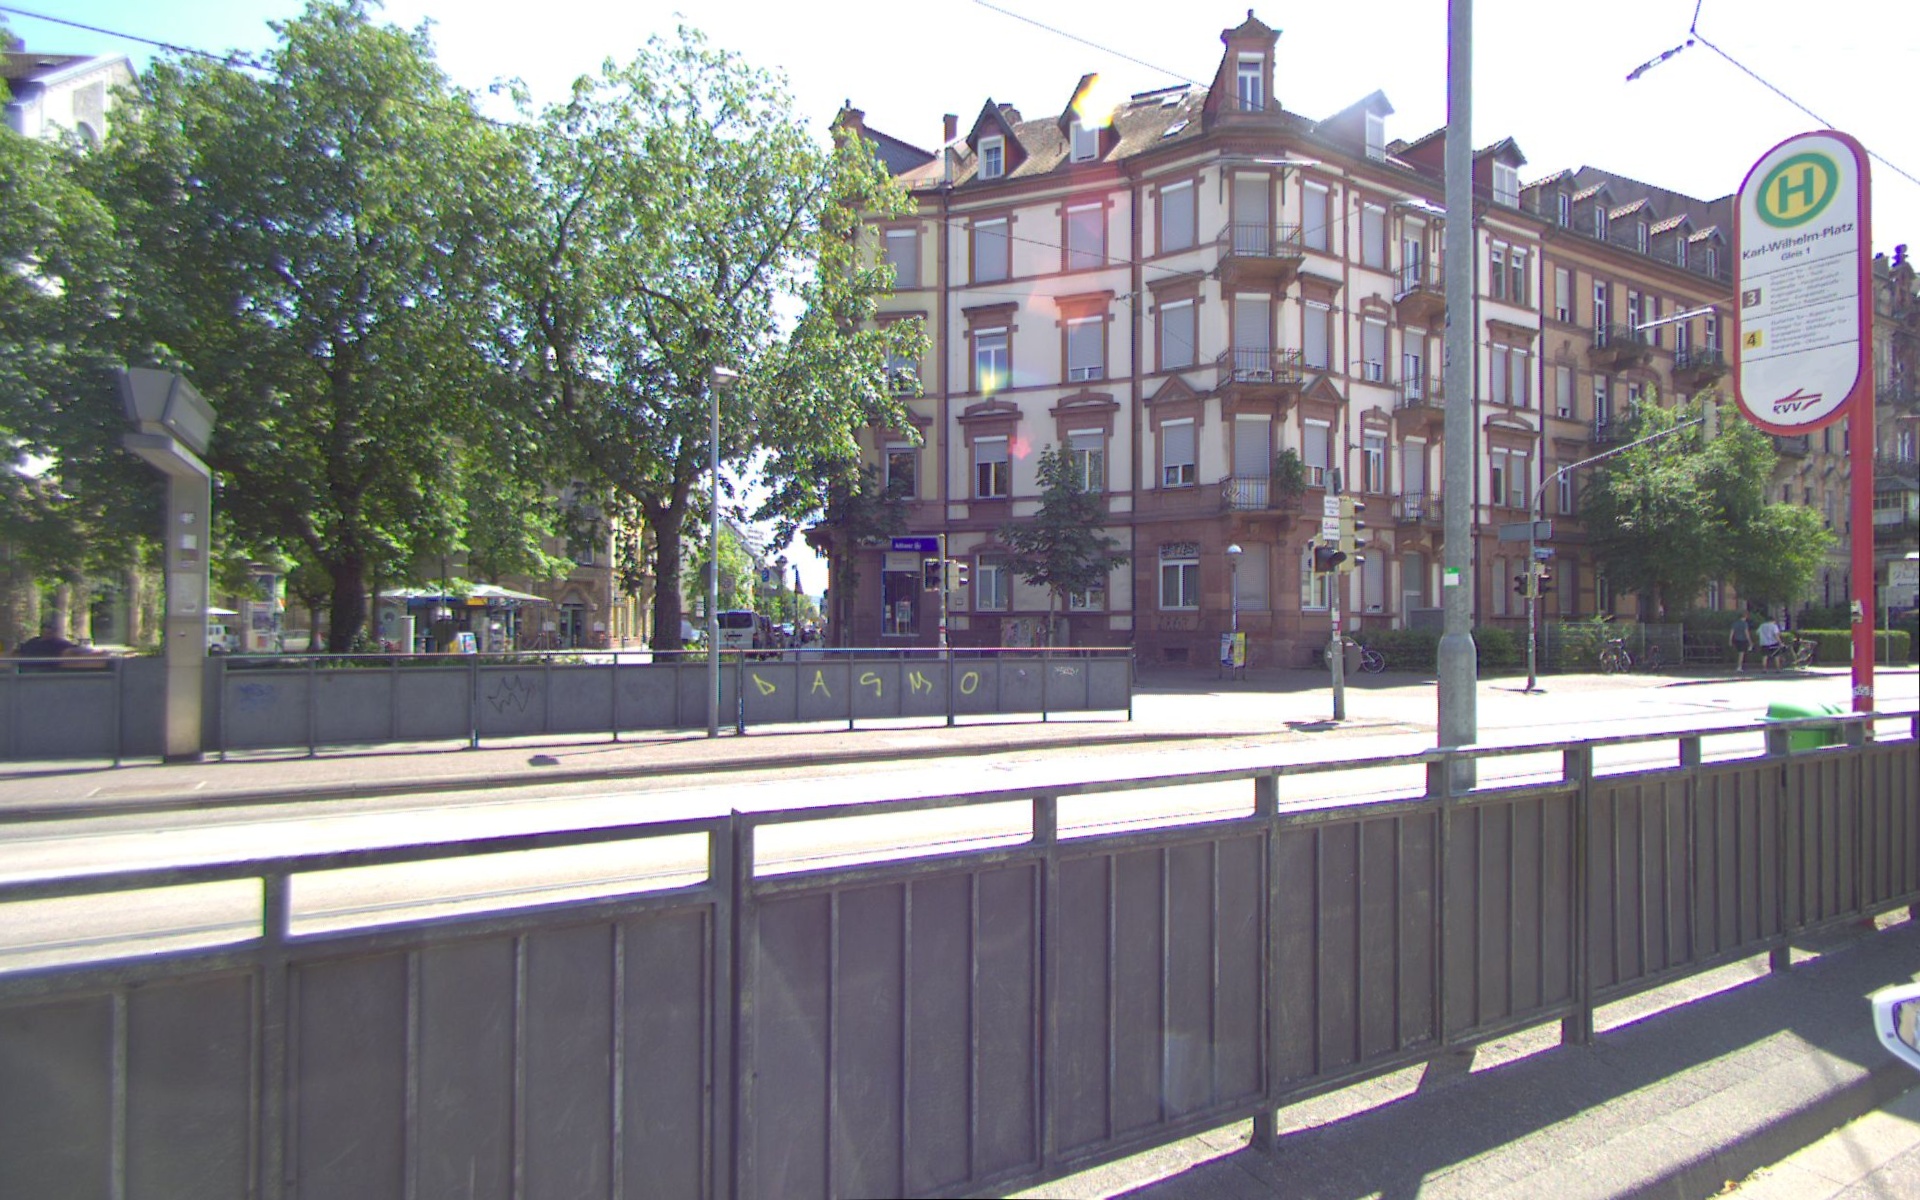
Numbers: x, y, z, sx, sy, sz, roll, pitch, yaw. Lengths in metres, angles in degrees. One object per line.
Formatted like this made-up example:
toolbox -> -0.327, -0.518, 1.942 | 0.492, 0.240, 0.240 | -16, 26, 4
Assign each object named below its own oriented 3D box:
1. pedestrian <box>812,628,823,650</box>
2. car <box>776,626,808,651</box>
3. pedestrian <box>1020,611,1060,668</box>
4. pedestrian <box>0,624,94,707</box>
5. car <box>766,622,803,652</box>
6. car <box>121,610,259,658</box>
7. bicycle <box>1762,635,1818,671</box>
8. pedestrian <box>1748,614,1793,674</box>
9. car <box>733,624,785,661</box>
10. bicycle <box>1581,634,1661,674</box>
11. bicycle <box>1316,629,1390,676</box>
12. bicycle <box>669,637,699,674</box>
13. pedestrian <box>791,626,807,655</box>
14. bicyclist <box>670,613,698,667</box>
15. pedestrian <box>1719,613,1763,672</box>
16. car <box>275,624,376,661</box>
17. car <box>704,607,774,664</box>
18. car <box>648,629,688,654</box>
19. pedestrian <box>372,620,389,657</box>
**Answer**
pedestrian -> -10.428, 2.871, 73.588 | 0.742, 1.632, 0.688 | 0, -1, -4
car -> -12.478, 2.839, 74.765 | 1.962, 1.617, 3.998 | 2, 0, -4
pedestrian -> 2.455, 1.207, 30.759 | 1.043, 1.712, 0.721 | -1, -1, 29
pedestrian -> -14.658, 1.040, 16.113 | 0.925, 1.261, 0.860 | 2, 0, -24
car -> -10.369, 2.173, 59.461 | 1.684, 1.617, 3.998 | 2, 0, -4
car -> -31.186, 1.363, 40.824 | 3.932, 1.814, 1.994 | 2, 0, -14
bicycle -> 28.525, 1.799, 34.493 | 2.750, 1.151, 0.930 | 2, 0, -39
pedestrian -> 25.569, 1.364, 31.686 | 0.862, 1.847, 0.813 | 0, 1, -28
car -> -9.622, 2.006, 48.296 | 1.893, 1.541, 3.998 | 2, 0, -4
bicycle -> 20.231, 1.642, 30.721 | 2.742, 1.151, 0.932 | 2, 0, -31
bicycle -> 11.668, 1.554, 29.868 | 1.923, 1.312, 0.564 | 2, 0, 11
bicycle -> -8.333, 1.657, 30.288 | 0.690, 1.070, 1.758 | 1, -1, -21
pedestrian -> -9.056, 2.263, 56.560 | 0.790, 1.632, 0.731 | 0, -1, -4
bicyclist -> -8.332, 1.209, 30.315 | 0.690, 1.613, 0.845 | 1, -1, -22
pedestrian -> 25.142, 1.360, 32.324 | 0.862, 1.847, 0.813 | 0, 1, -28
car -> -32.072, 2.155, 50.899 | 3.920, 1.730, 1.761 | 2, 0, -14
car -> -8.325, 1.295, 38.224 | 1.962, 1.970, 3.998 | 2, 0, -4
car -> -20.654, 2.912, 71.171 | 1.846, 1.617, 3.998 | 2, 0, -4
pedestrian -> -26.778, 1.759, 46.419 | 0.506, 1.692, 0.491 | 0, -1, -8
